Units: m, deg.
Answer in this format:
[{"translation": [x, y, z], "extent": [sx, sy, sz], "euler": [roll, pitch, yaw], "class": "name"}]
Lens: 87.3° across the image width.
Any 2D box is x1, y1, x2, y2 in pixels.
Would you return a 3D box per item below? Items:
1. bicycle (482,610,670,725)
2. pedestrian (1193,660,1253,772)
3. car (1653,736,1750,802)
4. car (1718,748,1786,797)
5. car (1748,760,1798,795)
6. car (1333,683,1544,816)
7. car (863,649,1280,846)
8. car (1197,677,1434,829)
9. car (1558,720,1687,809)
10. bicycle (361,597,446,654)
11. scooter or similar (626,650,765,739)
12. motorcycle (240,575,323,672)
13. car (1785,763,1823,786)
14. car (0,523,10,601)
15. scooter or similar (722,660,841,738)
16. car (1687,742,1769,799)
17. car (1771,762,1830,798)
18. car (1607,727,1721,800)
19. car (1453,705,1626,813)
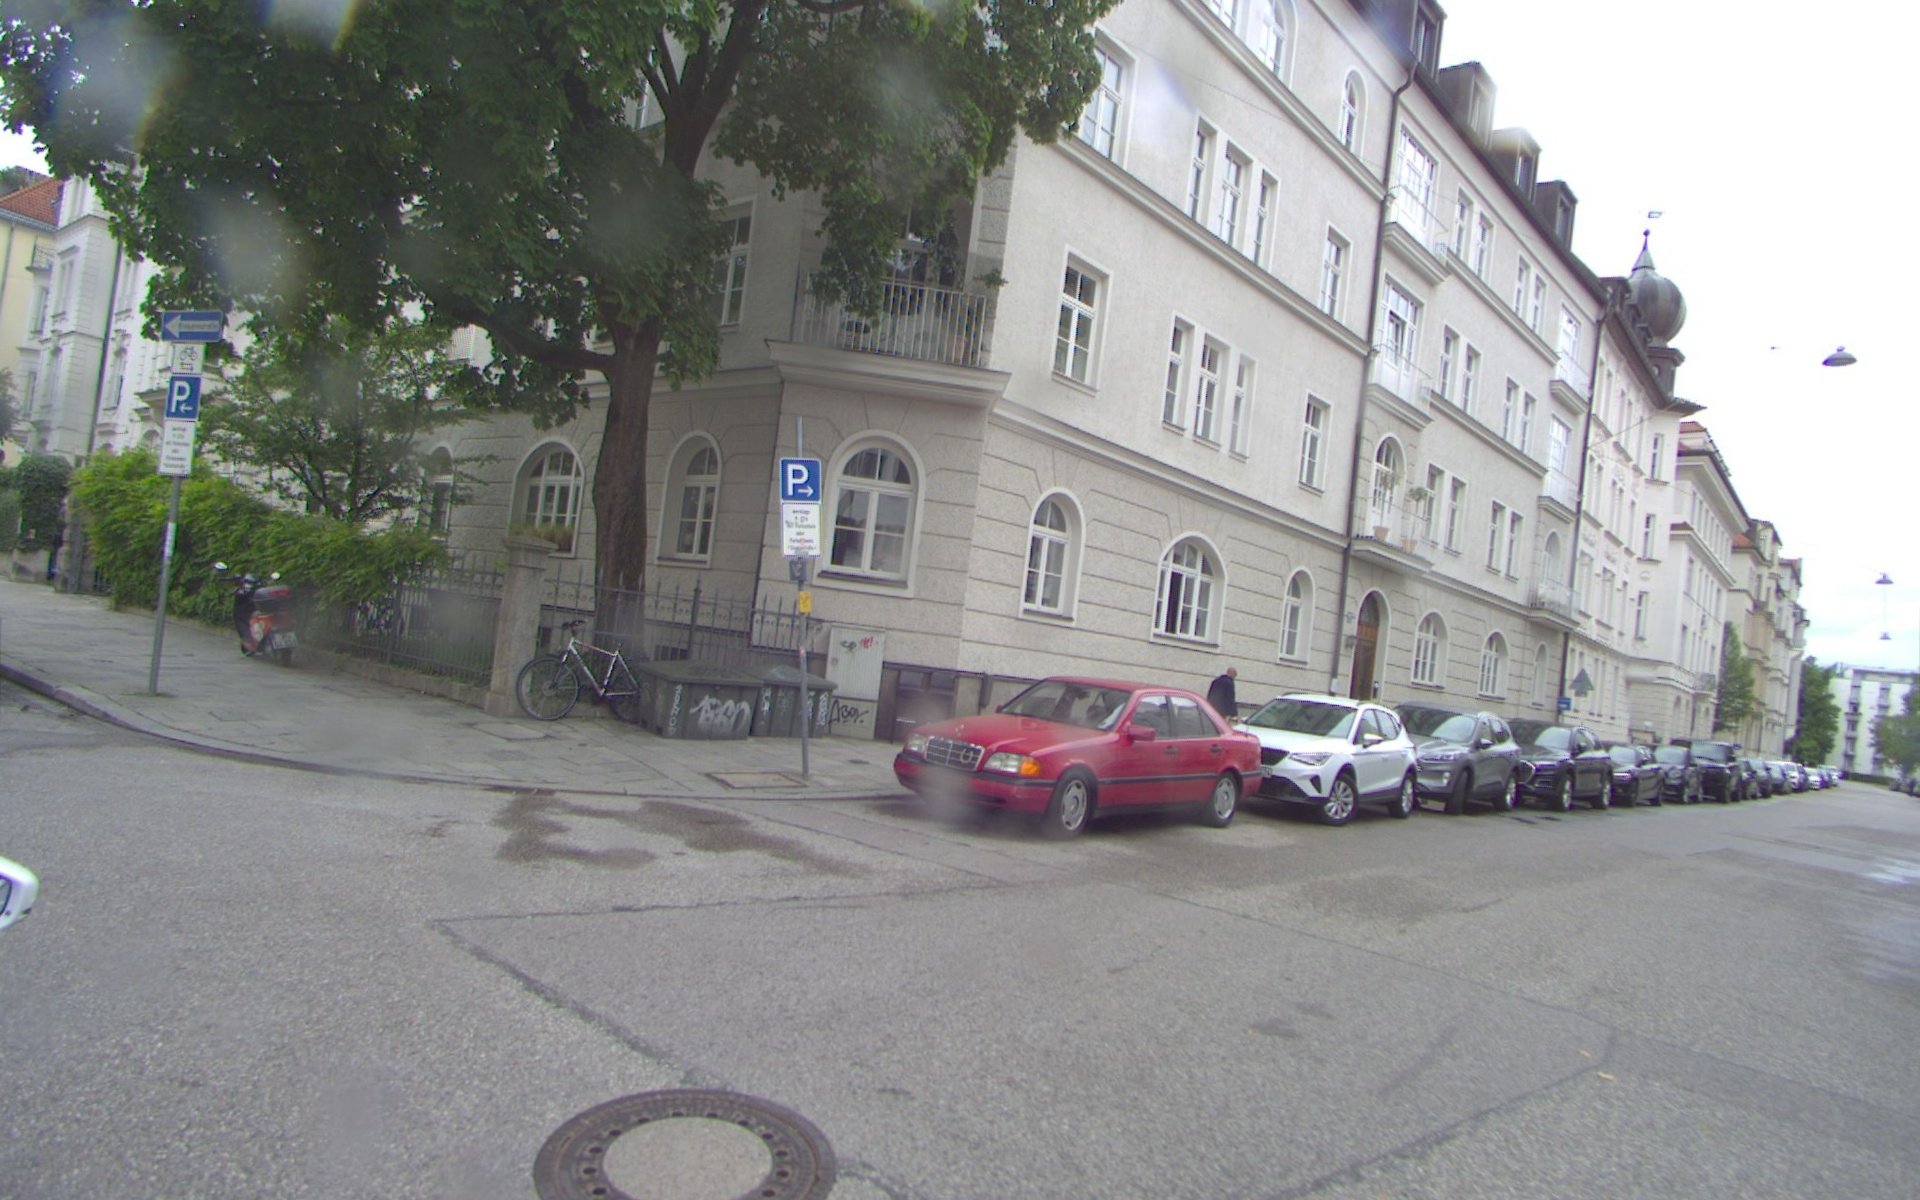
[{"translation": [-4.348, 0.797, 11.503], "extent": [1.834, 1.137, 0.555], "euler": [9, -3, -45], "class": "bicycle"}, {"translation": [4.724, 2.077, 18.074], "extent": [0.730, 1.897, 0.494], "euler": [6, -2, 31], "class": "pedestrian"}, {"translation": [23.535, 5.349, 31.883], "extent": [1.809, 1.689, 4.038], "euler": [4, -4, 45], "class": "car"}, {"translation": [31.694, 6.886, 40.234], "extent": [1.642, 1.611, 3.727], "euler": [5, -3, 45], "class": "car"}, {"translation": [45.110, 9.829, 55.798], "extent": [1.973, 1.526, 3.986], "euler": [5, -4, 41], "class": "car"}, {"translation": [8.155, 2.473, 16.933], "extent": [1.729, 1.732, 4.318], "euler": [7, -1, 45], "class": "car"}, {"translation": [1.334, 1.438, 10.075], "extent": [1.737, 1.373, 4.461], "euler": [5, -3, 43], "class": "car"}, {"translation": [4.818, 1.999, 13.299], "extent": [1.544, 1.538, 3.884], "euler": [5, -4, 41], "class": "car"}, {"translation": [16.041, 3.936, 24.255], "extent": [1.864, 1.682, 4.274], "euler": [5, -3, 42], "class": "car"}, {"translation": [-10.013, 0.441, 18.062], "extent": [2.241, 0.821, 0.491], "euler": [5, -3, 40], "class": "bicycle"}, {"translation": [-3.062, 1.104, 11.676], "extent": [0.913, 0.858, 1.181], "euler": [4, -4, 45], "class": "scooter or similar"}, {"translation": [-8.698, 0.291, 12.879], "extent": [1.383, 1.102, 0.362], "euler": [5, -3, 39], "class": "motorcycle"}, {"translation": [59.558, 12.293, 71.001], "extent": [1.972, 1.292, 3.986], "euler": [5, -4, 41], "class": "car"}, {"translation": [-10.396, -0.134, 9.398], "extent": [3.738, 1.488, 1.503], "euler": [5, -3, 37], "class": "car"}, {"translation": [-2.240, 1.254, 12.724], "extent": [0.688, 0.835, 1.235], "euler": [5, -4, 45], "class": "scooter or similar"}, {"translation": [27.644, 6.117, 36.166], "extent": [1.832, 1.676, 3.914], "euler": [5, -4, 44], "class": "car"}, {"translation": [39.984, 8.540, 47.811], "extent": [1.788, 1.362, 3.530], "euler": [4, -4, 45], "class": "car"}, {"translation": [20.151, 4.671, 28.720], "extent": [1.866, 1.682, 4.271], "euler": [4, -4, 45], "class": "car"}, {"translation": [11.652, 3.161, 20.100], "extent": [1.866, 1.682, 4.270], "euler": [5, -3, 45], "class": "car"}]
